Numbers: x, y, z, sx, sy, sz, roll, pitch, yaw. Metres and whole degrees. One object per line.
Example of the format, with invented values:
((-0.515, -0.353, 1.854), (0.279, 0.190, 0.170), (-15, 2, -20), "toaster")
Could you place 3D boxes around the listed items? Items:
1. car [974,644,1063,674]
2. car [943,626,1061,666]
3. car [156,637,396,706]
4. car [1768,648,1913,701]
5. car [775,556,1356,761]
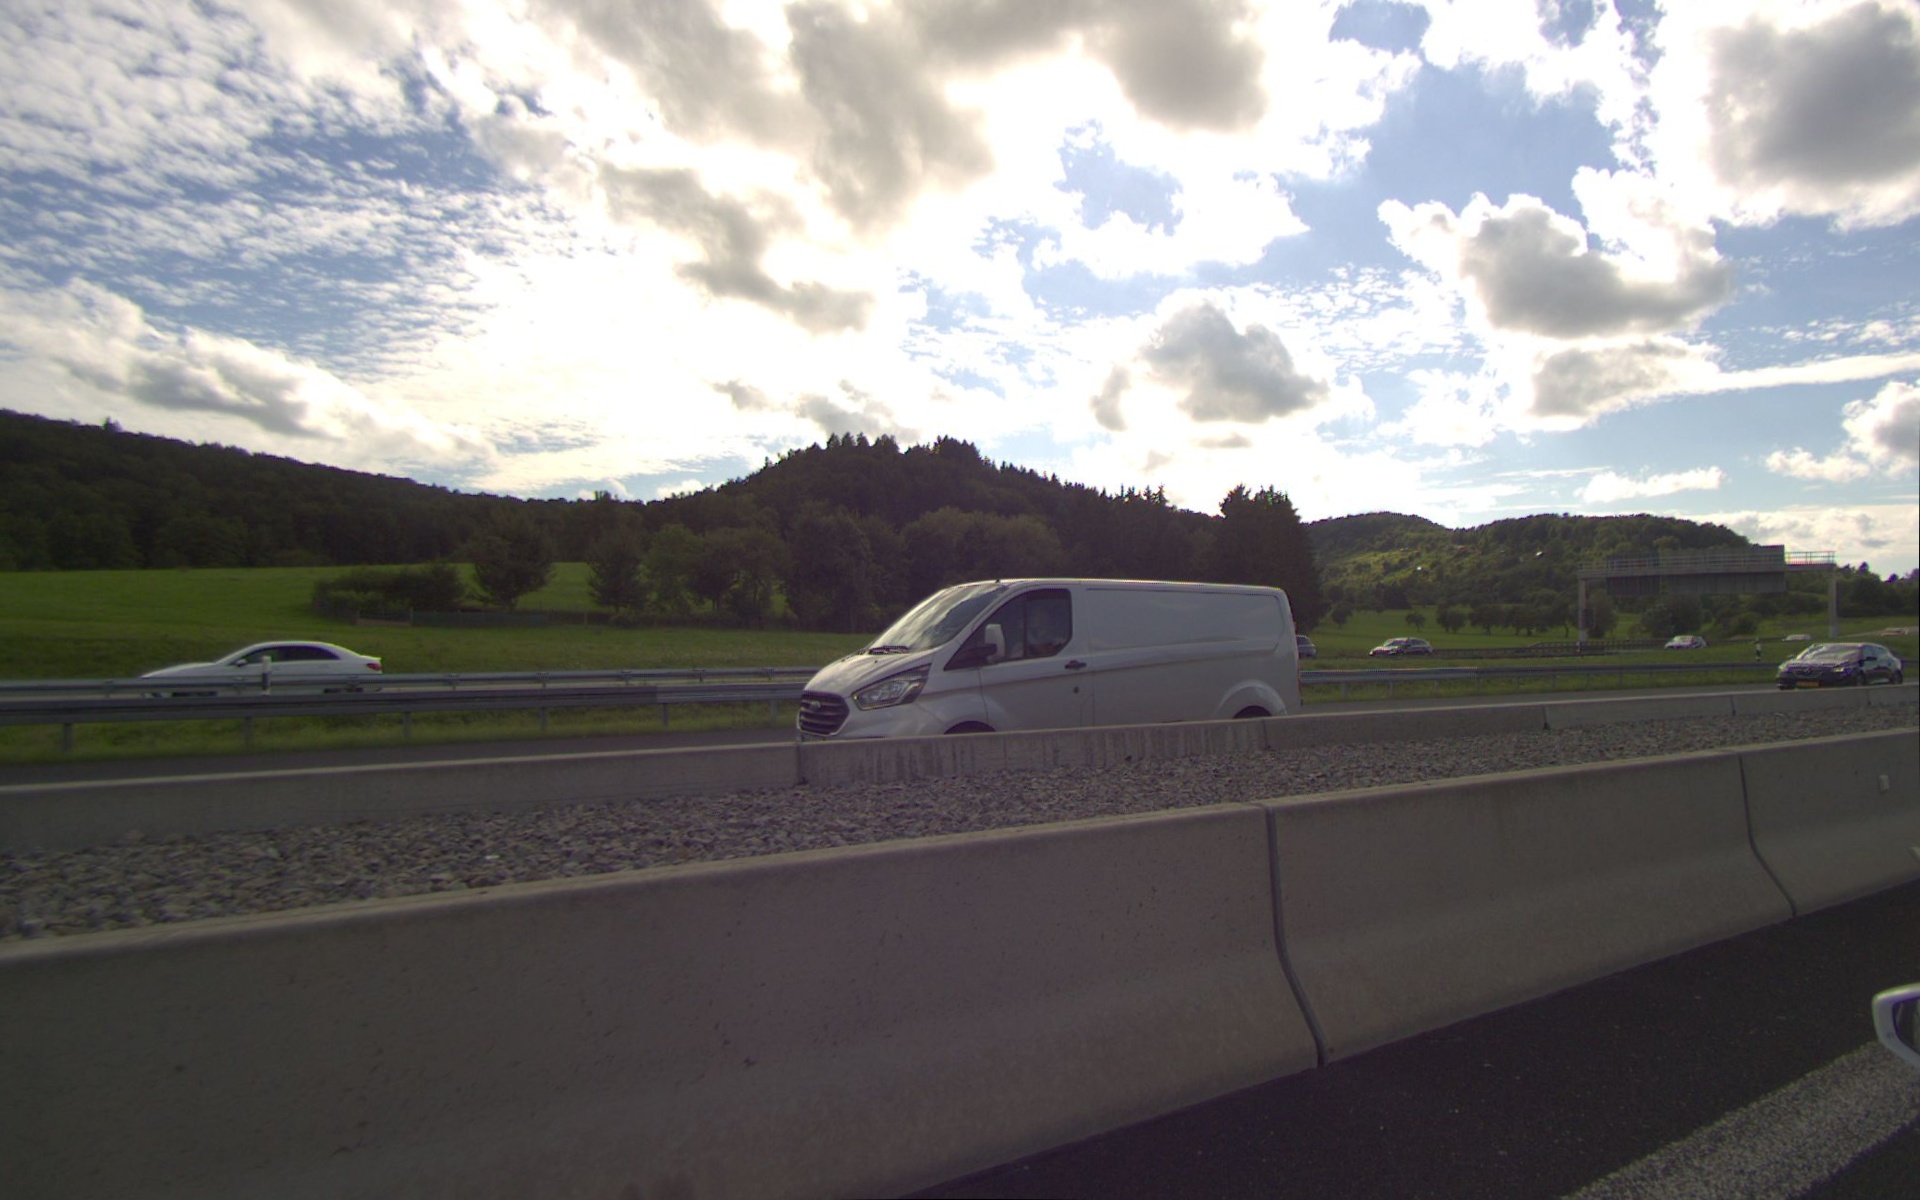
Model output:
((3.220, 3.199, 54.753), (4.842, 1.568, 1.761), (2, -3, -36), "car")
((1.784, 1.902, 41.411), (4.842, 1.568, 1.761), (2, -3, -36), "car")
((-15.450, 1.582, 22.859), (4.360, 1.418, 1.759), (2, -3, -38), "car")
((25.322, 2.080, 28.855), (4.636, 1.420, 1.746), (2, -3, -30), "car")
((1.217, 0.551, 9.940), (5.681, 1.552, 1.984), (2, -3, -31), "car")
